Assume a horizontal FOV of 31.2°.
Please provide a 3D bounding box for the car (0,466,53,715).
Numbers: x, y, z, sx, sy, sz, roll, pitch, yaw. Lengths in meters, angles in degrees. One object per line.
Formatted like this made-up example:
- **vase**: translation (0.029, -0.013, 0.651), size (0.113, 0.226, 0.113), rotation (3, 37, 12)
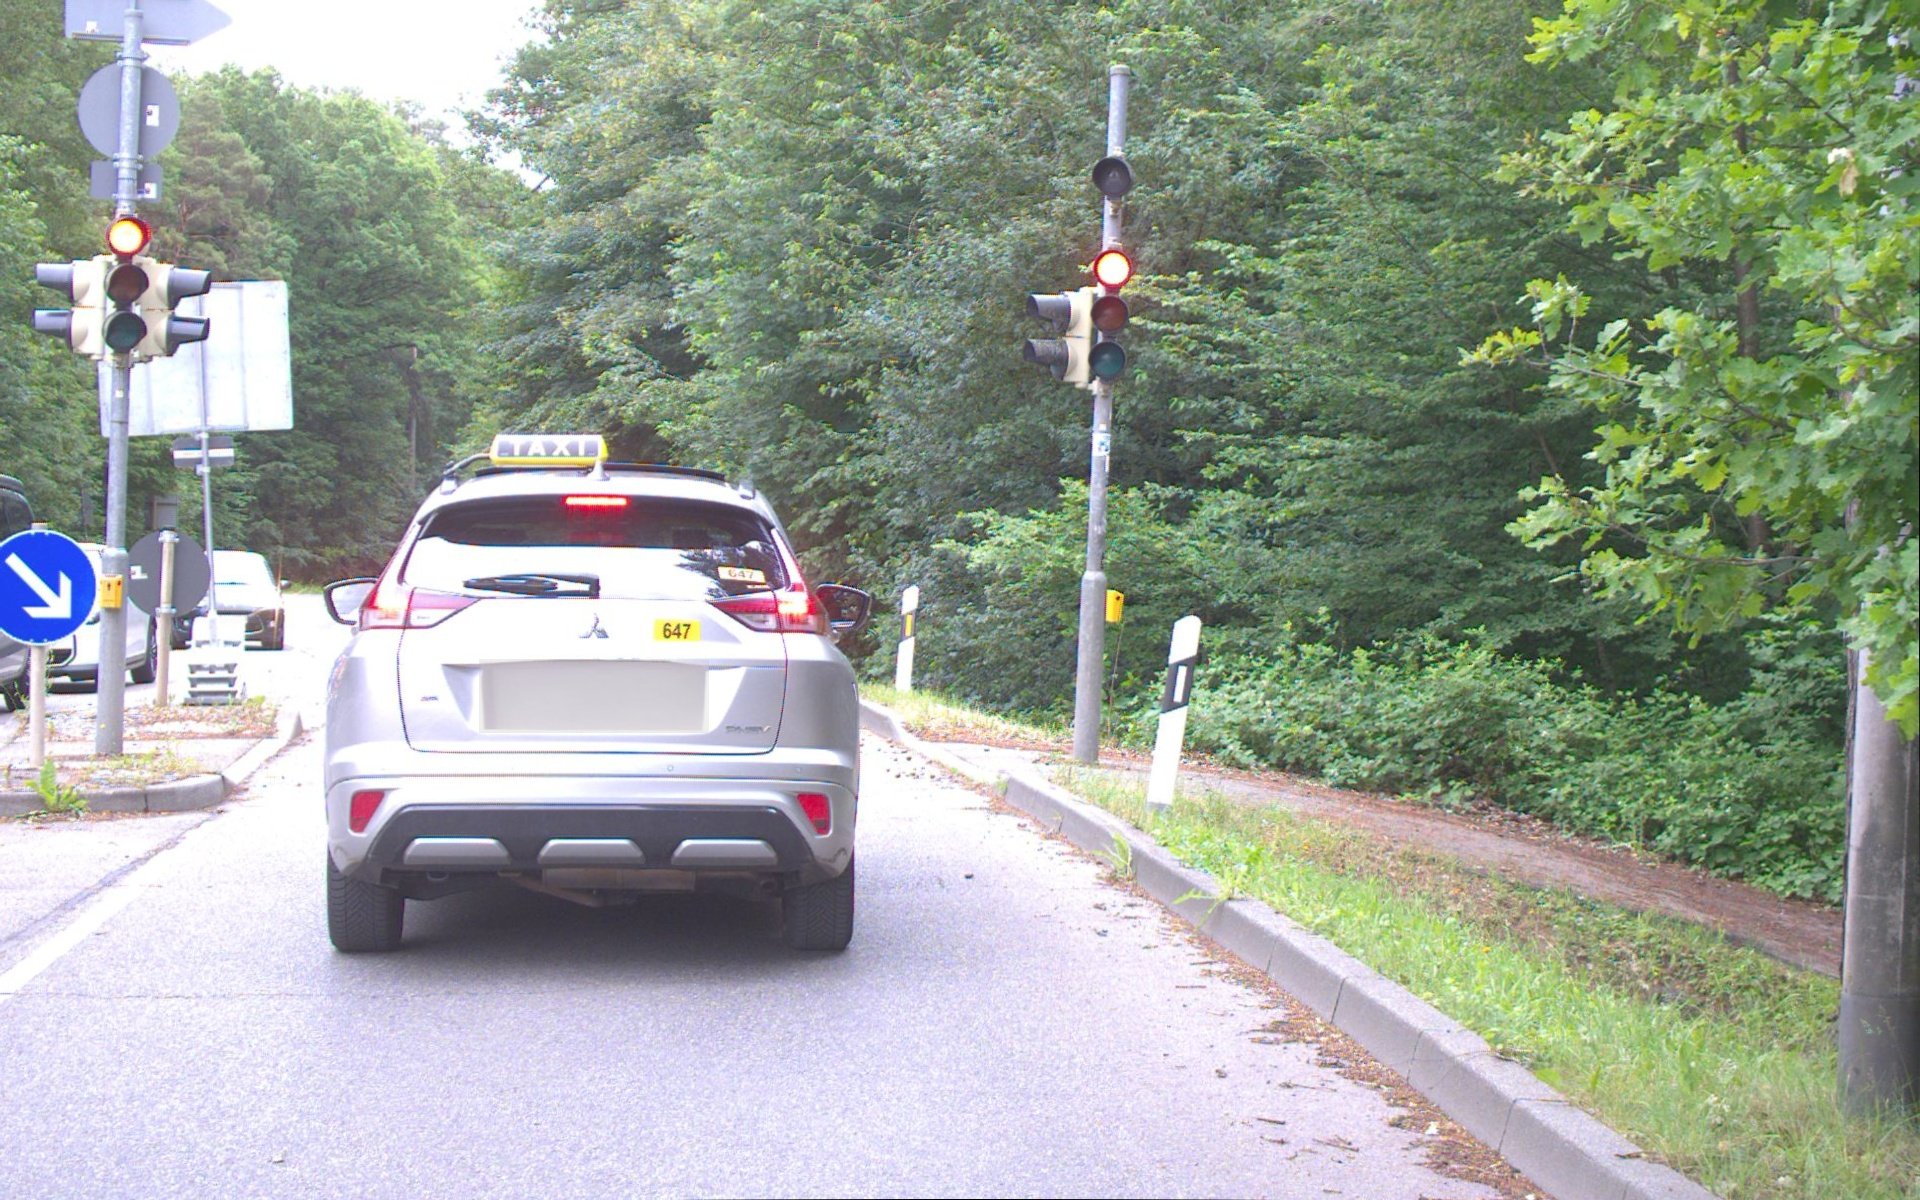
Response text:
- **car**: translation (-8.292, -0.061, 26.042), size (1.993, 1.887, 4.840), rotation (-1, 1, -6)

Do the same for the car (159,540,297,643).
- **car**: translation (-11.307, -0.149, 53.283), size (1.811, 1.503, 3.722), rotation (-2, 1, -8)

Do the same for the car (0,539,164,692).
- **car**: translation (-8.814, 0.117, 33.217), size (1.612, 1.317, 3.722), rotation (-1, 2, -4)

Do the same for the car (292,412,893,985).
- **car**: translation (-1.372, 0.275, 12.826), size (1.846, 1.774, 4.001), rotation (1, 1, -6)
